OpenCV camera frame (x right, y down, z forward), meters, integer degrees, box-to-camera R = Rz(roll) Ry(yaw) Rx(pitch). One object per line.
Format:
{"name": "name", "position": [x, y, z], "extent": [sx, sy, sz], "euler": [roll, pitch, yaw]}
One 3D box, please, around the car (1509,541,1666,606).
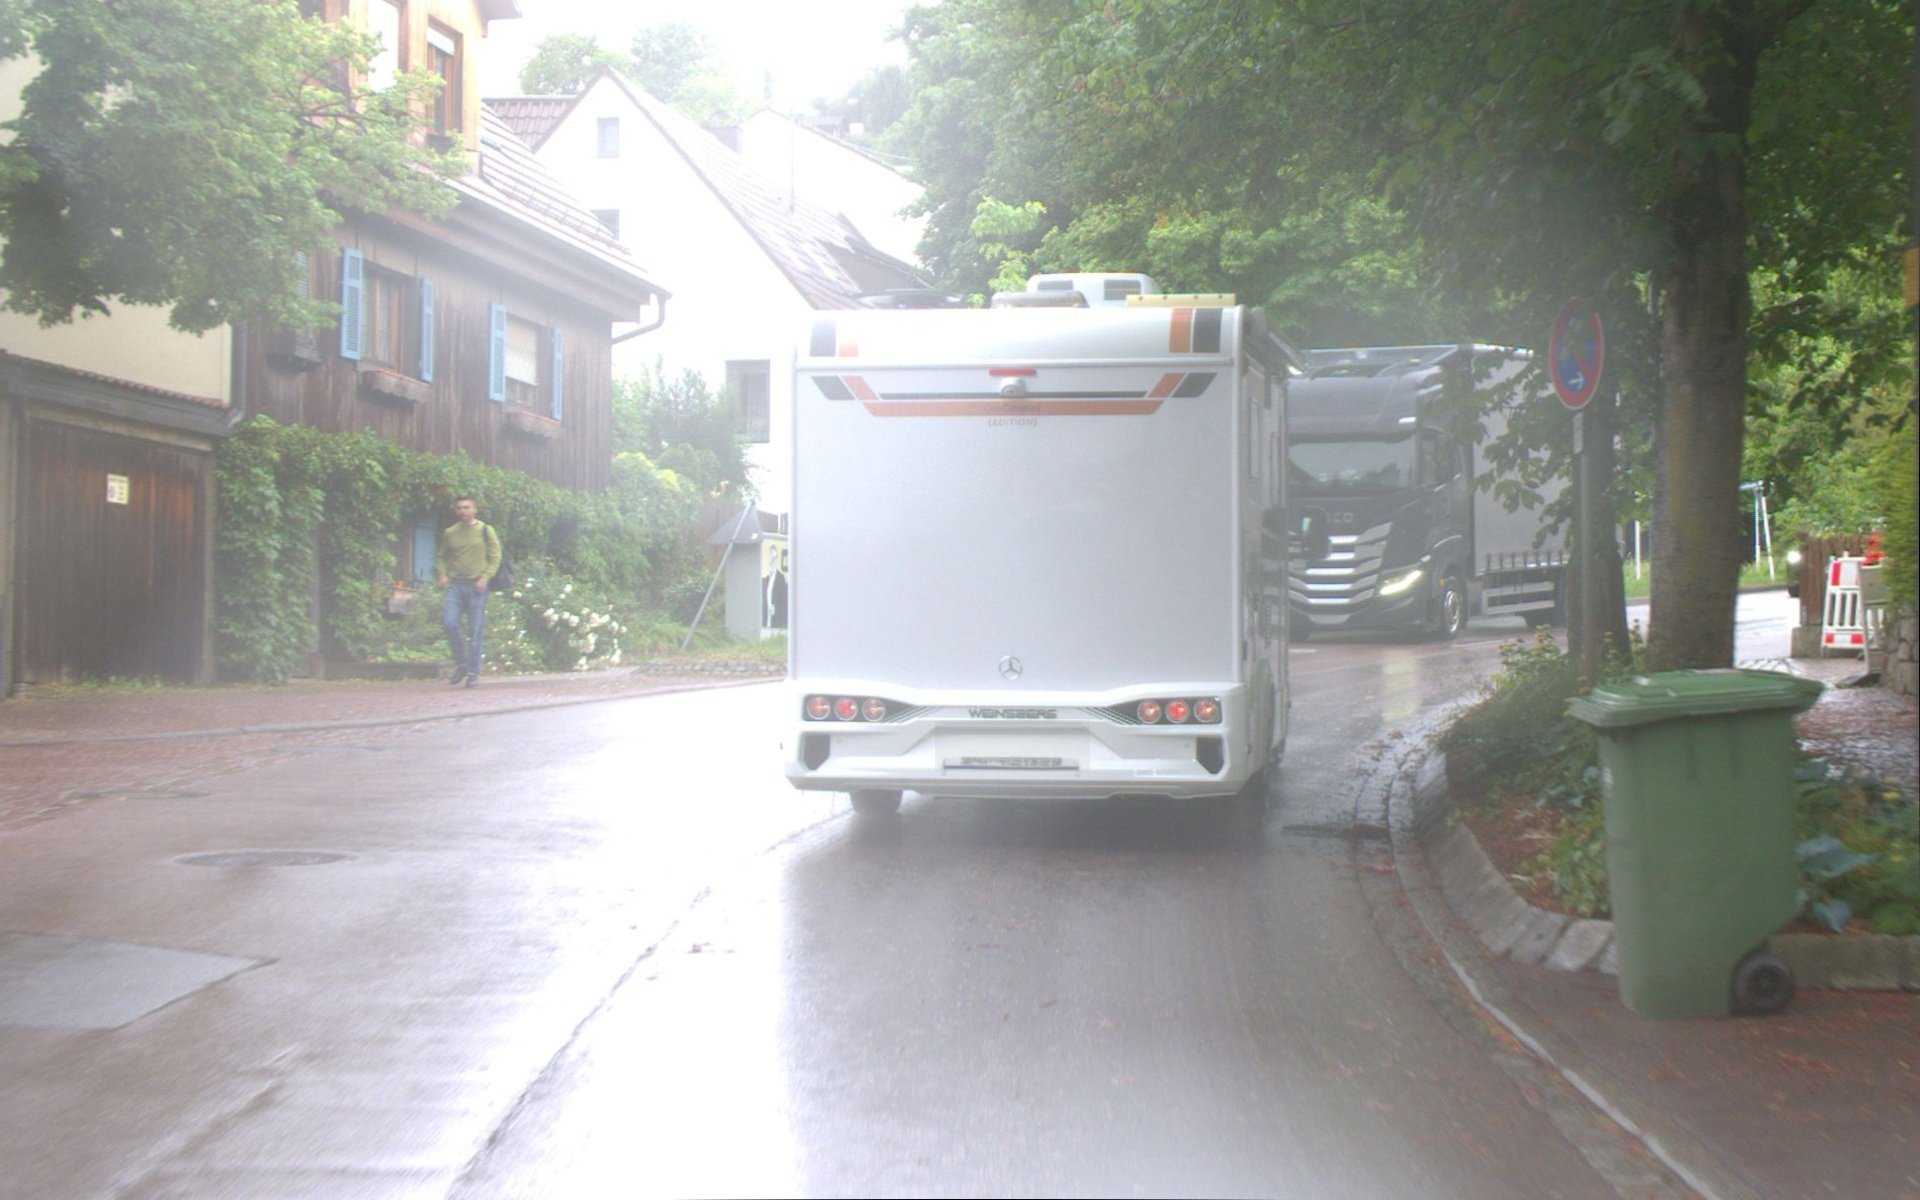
{"name": "car", "position": [17.389, -0.723, 95.416], "extent": [3.987, 1.756, 2.000], "euler": [0, 0, 0]}

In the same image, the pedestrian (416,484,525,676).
{"name": "pedestrian", "position": [-4.811, -0.196, 33.829], "extent": [0.794, 1.861, 0.916], "euler": [0, 0, 12]}

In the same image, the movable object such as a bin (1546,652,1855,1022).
{"name": "movable object such as a bin", "position": [2.376, 0.742, 11.126], "extent": [0.769, 1.103, 0.884], "euler": [-2, 1, -1]}

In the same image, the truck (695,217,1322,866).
{"name": "truck", "position": [0.536, -0.345, 19.184], "extent": [2.695, 2.975, 6.235], "euler": [1, 1, 8]}

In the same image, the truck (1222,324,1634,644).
{"name": "truck", "position": [6.996, -1.592, 49.709], "extent": [2.842, 4.152, 9.963], "euler": [1, 1, 26]}
